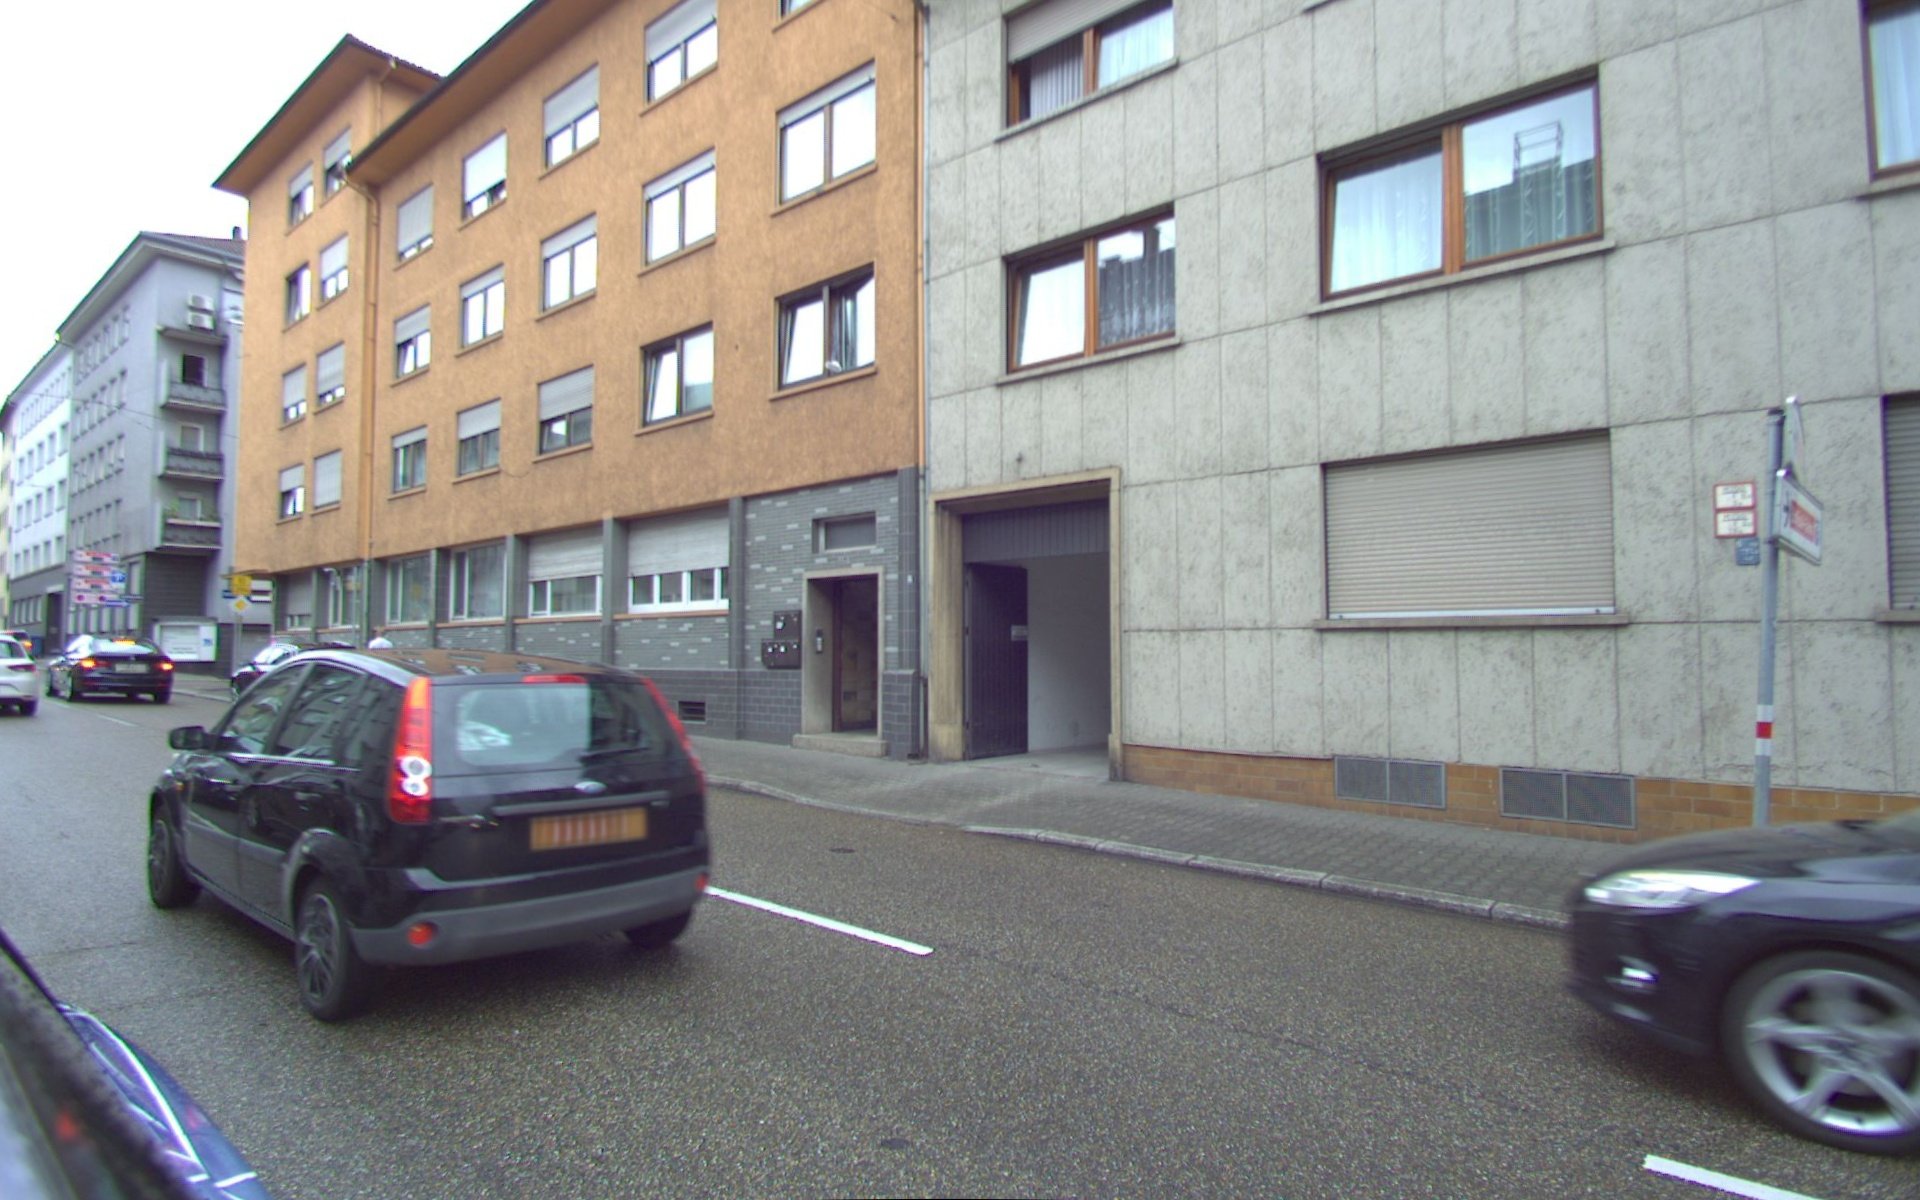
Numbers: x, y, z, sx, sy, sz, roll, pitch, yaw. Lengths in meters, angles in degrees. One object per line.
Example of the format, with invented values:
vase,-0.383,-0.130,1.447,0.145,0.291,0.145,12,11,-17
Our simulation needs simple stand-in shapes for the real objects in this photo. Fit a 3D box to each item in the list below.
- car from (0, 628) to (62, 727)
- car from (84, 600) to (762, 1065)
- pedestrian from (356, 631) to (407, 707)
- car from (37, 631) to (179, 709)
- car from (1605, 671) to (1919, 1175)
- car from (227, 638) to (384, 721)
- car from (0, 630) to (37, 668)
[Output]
car,-16.926,1.243,17.269,4.049,1.551,1.727,-1,-4,40
car,-3.074,0.843,5.377,4.213,1.551,1.602,-1,-4,39
pedestrian,-13.227,1.562,23.135,0.757,1.652,1.024,-1,0,-44
car,-19.818,1.597,23.482,4.433,1.551,1.677,-1,-6,40
car,4.503,1.008,2.836,4.370,1.484,1.705,-2,-5,40
car,-14.255,1.637,21.948,4.216,1.485,1.776,-1,0,41
car,-46.481,2.370,49.285,4.216,1.735,1.832,-1,0,41
